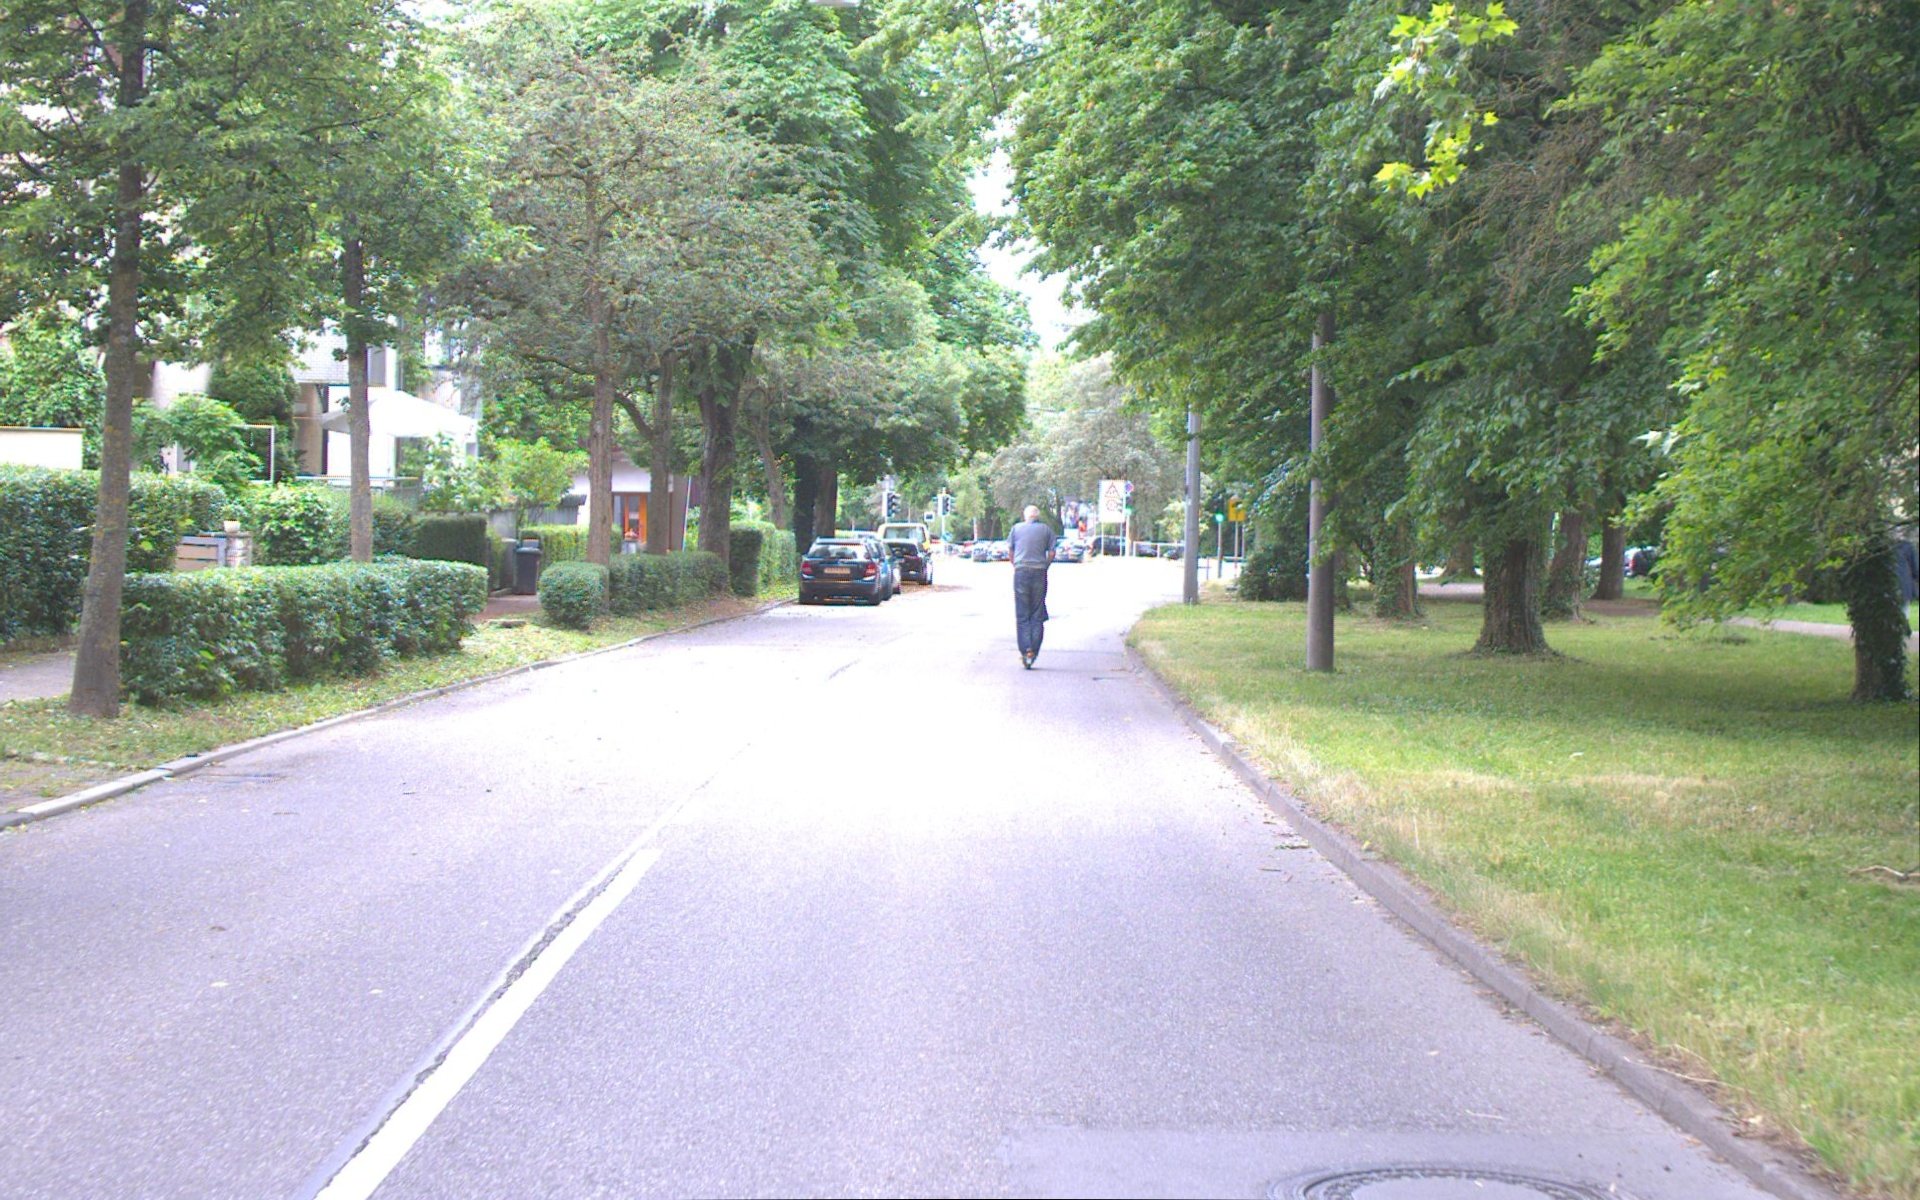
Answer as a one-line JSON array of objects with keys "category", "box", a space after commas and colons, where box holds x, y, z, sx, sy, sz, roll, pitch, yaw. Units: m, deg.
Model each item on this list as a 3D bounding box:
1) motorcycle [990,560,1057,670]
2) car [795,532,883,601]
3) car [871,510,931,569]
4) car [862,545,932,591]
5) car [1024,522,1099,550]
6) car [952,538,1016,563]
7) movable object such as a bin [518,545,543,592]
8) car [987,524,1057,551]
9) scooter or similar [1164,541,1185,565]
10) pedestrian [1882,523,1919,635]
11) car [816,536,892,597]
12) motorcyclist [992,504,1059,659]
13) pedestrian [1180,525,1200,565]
[{"category": "motorcycle", "box": [0.737, 0.160, 39.631, 0.673, 1.213, 1.273, 2, 1, 3]}, {"category": "car", "box": [-2.630, -0.746, 75.757, 1.794, 1.467, 4.418, 0, 1, 0]}, {"category": "car", "box": [-2.039, -2.043, 117.797, 1.857, 1.957, 4.505, 0, 0, -3]}, {"category": "car", "box": [-1.940, -0.991, 106.893, 1.892, 1.405, 4.553, 0, 0, 3]}, {"category": "car", "box": [5.541, -3.494, 187.635, 3.987, 1.505, 1.800, 0, 1, 0]}, {"category": "car", "box": [1.508, -3.096, 215.225, 3.987, 1.505, 1.800, 0, 1, 0]}, {"category": "movable object such as a bin", "box": [-8.387, -0.621, 67.086, 0.456, 0.912, 0.508, 0, 1, -4]}, {"category": "car", "box": [3.613, -3.642, 200.343, 3.987, 1.505, 1.800, 0, 1, 0]}, {"category": "scooter or similar", "box": [9.598, -2.111, 154.075, 0.711, 1.045, 0.786, 1, 0, 21]}, {"category": "pedestrian", "box": [14.520, -0.324, 52.330, 0.768, 1.680, 0.814, 0, 1, 1]}, {"category": "car", "box": [-2.469, -0.798, 80.732, 1.664, 1.387, 3.707, 0, 1, 0]}, {"category": "motorcyclist", "box": [0.760, -0.220, 39.760, 0.673, 1.755, 0.639, 2, 1, 3]}, {"category": "pedestrian", "box": [10.291, -2.457, 153.760, 0.733, 1.756, 0.661, 1, 0, 21]}]
